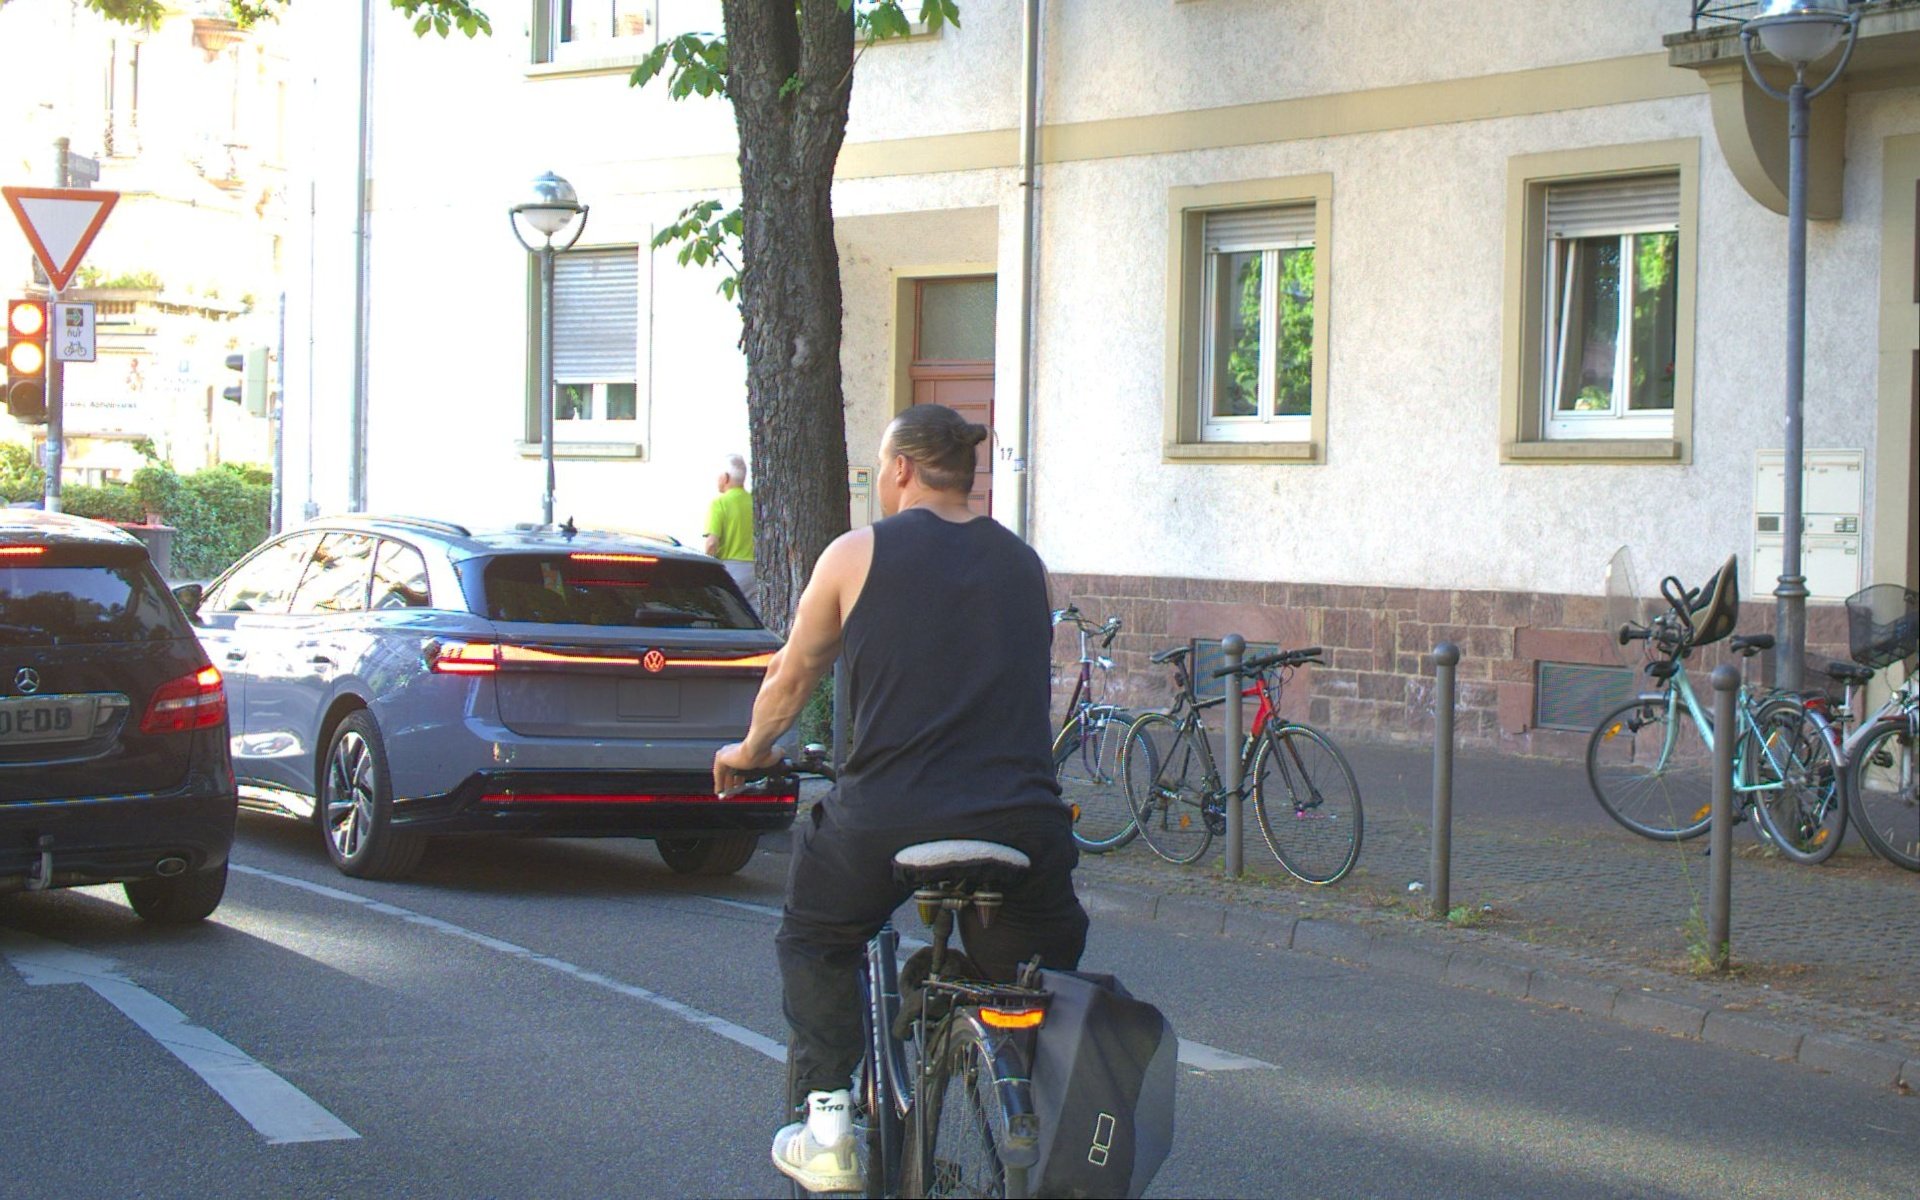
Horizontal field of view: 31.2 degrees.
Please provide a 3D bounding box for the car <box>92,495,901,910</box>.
[{"bbox_3d":[-2.293,0.383,15.797,1.970,1.580,4.475,3,0,-31],"label":"car"}]

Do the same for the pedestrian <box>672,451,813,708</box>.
[{"bbox_3d":[-1.502,-0.156,23.669,0.643,1.721,0.888,-2,3,-27],"label":"pedestrian"}]

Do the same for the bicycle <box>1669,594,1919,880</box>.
[{"bbox_3d":[3.900,0.561,14.910,0.667,1.103,1.967,1,1,-19],"label":"bicycle"}]

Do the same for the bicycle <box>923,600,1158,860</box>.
[{"bbox_3d":[0.353,0.576,16.009,0.480,1.060,1.636,-2,3,-22],"label":"bicycle"}]

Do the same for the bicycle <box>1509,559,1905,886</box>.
[{"bbox_3d":[3.188,0.484,14.892,0.717,1.273,1.967,-1,2,-21],"label":"bicycle"}]

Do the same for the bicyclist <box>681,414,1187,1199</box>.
[{"bbox_3d":[-0.078,0.503,6.268,0.686,1.650,0.990,0,2,-15],"label":"bicyclist"}]

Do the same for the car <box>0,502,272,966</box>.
[{"bbox_3d":[-4.235,0.405,13.162,1.790,1.536,3.860,-2,2,-34],"label":"car"}]

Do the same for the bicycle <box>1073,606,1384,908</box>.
[{"bbox_3d":[1.096,0.619,14.426,0.526,1.103,1.741,-2,3,-24],"label":"bicycle"}]

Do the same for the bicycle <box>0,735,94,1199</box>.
[{"bbox_3d":[-2.403,0.783,6.698,0.717,1.103,1.967,1,1,-35],"label":"bicycle"}]
